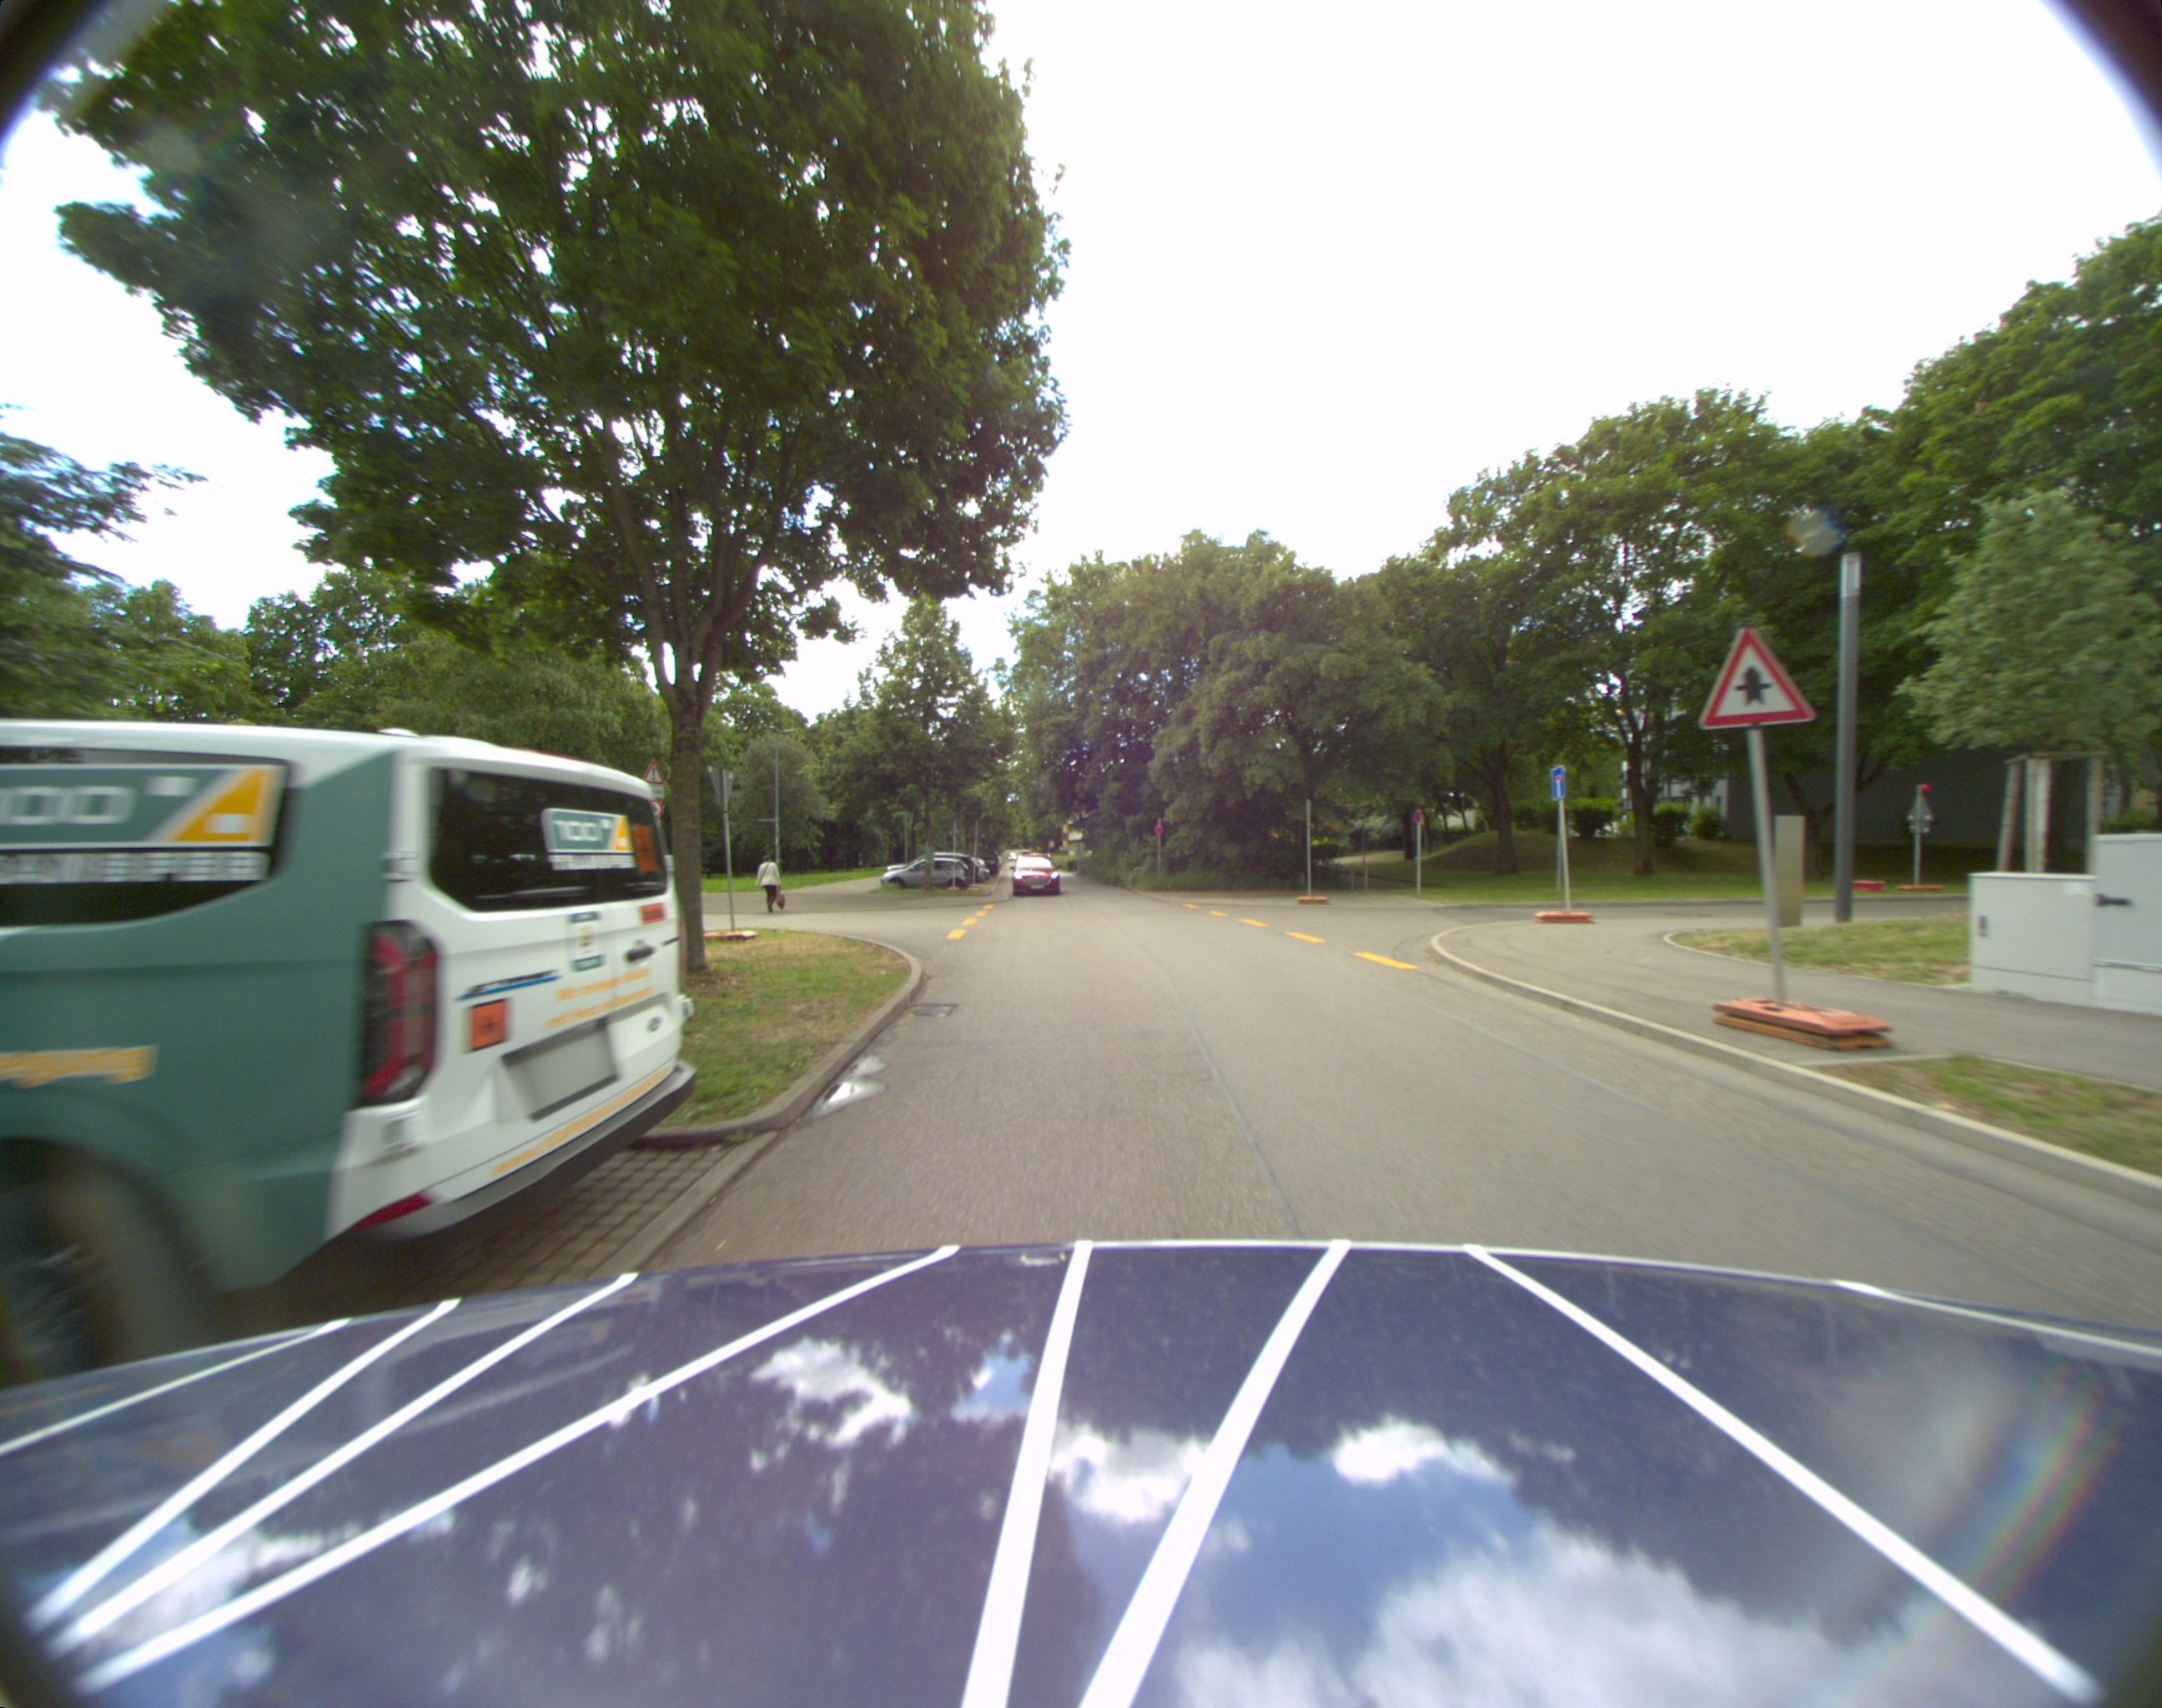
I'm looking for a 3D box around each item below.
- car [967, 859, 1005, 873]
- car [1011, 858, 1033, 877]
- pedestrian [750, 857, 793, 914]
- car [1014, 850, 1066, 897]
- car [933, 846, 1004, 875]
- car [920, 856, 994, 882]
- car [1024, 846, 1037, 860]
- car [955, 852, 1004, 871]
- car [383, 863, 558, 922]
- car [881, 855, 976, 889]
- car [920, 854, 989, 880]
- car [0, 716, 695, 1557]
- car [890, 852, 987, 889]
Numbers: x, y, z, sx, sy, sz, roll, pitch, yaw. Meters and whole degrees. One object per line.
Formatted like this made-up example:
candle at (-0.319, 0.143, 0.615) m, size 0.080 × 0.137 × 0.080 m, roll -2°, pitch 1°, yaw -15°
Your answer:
car at (-10.539, 1.300, 84.547) m, size 4.084 × 1.448 × 1.850 m, roll 1°, pitch 0°, yaw -4°
car at (-5.683, 1.264, 72.601) m, size 1.919 × 1.707 × 5.036 m, roll -2°, pitch 0°, yaw -5°
pedestrian at (-8.741, 0.879, 21.480) m, size 0.836 × 1.567 × 0.809 m, roll -1°, pitch 0°, yaw 1°
car at (-1.777, 0.748, 31.510) m, size 1.919 × 1.707 × 5.036 m, roll -2°, pitch 0°, yaw -5°
car at (-8.202, 0.464, 55.914) m, size 4.968 × 2.002 × 2.165 m, roll 1°, pitch 0°, yaw -4°
car at (-7.040, 0.835, 43.475) m, size 3.999 × 1.422 × 1.934 m, roll 1°, pitch 0°, yaw -5°
car at (-9.156, -0.113, 138.364) m, size 2.138 × 2.461 × 6.275 m, roll -2°, pitch 0°, yaw -4°
car at (-9.518, 0.710, 71.529) m, size 4.428 × 1.666 × 2.081 m, roll 1°, pitch -1°, yaw -5°
car at (-17.968, 1.113, 22.477) m, size 3.788 × 1.658 × 1.768 m, roll 0°, pitch 0°, yaw 2°
car at (-6.573, 0.770, 33.063) m, size 3.843 × 1.395 × 1.851 m, roll 1°, pitch 0°, yaw -3°
car at (-7.648, 0.771, 46.145) m, size 3.999 × 1.519 × 1.810 m, roll 1°, pitch 1°, yaw -4°
car at (-4.301, 0.637, 2.567) m, size 4.987 × 1.960 × 1.846 m, roll 1°, pitch 0°, yaw -4°
car at (-6.607, 0.734, 35.582) m, size 4.134 × 1.640 × 1.979 m, roll 1°, pitch 1°, yaw -1°
